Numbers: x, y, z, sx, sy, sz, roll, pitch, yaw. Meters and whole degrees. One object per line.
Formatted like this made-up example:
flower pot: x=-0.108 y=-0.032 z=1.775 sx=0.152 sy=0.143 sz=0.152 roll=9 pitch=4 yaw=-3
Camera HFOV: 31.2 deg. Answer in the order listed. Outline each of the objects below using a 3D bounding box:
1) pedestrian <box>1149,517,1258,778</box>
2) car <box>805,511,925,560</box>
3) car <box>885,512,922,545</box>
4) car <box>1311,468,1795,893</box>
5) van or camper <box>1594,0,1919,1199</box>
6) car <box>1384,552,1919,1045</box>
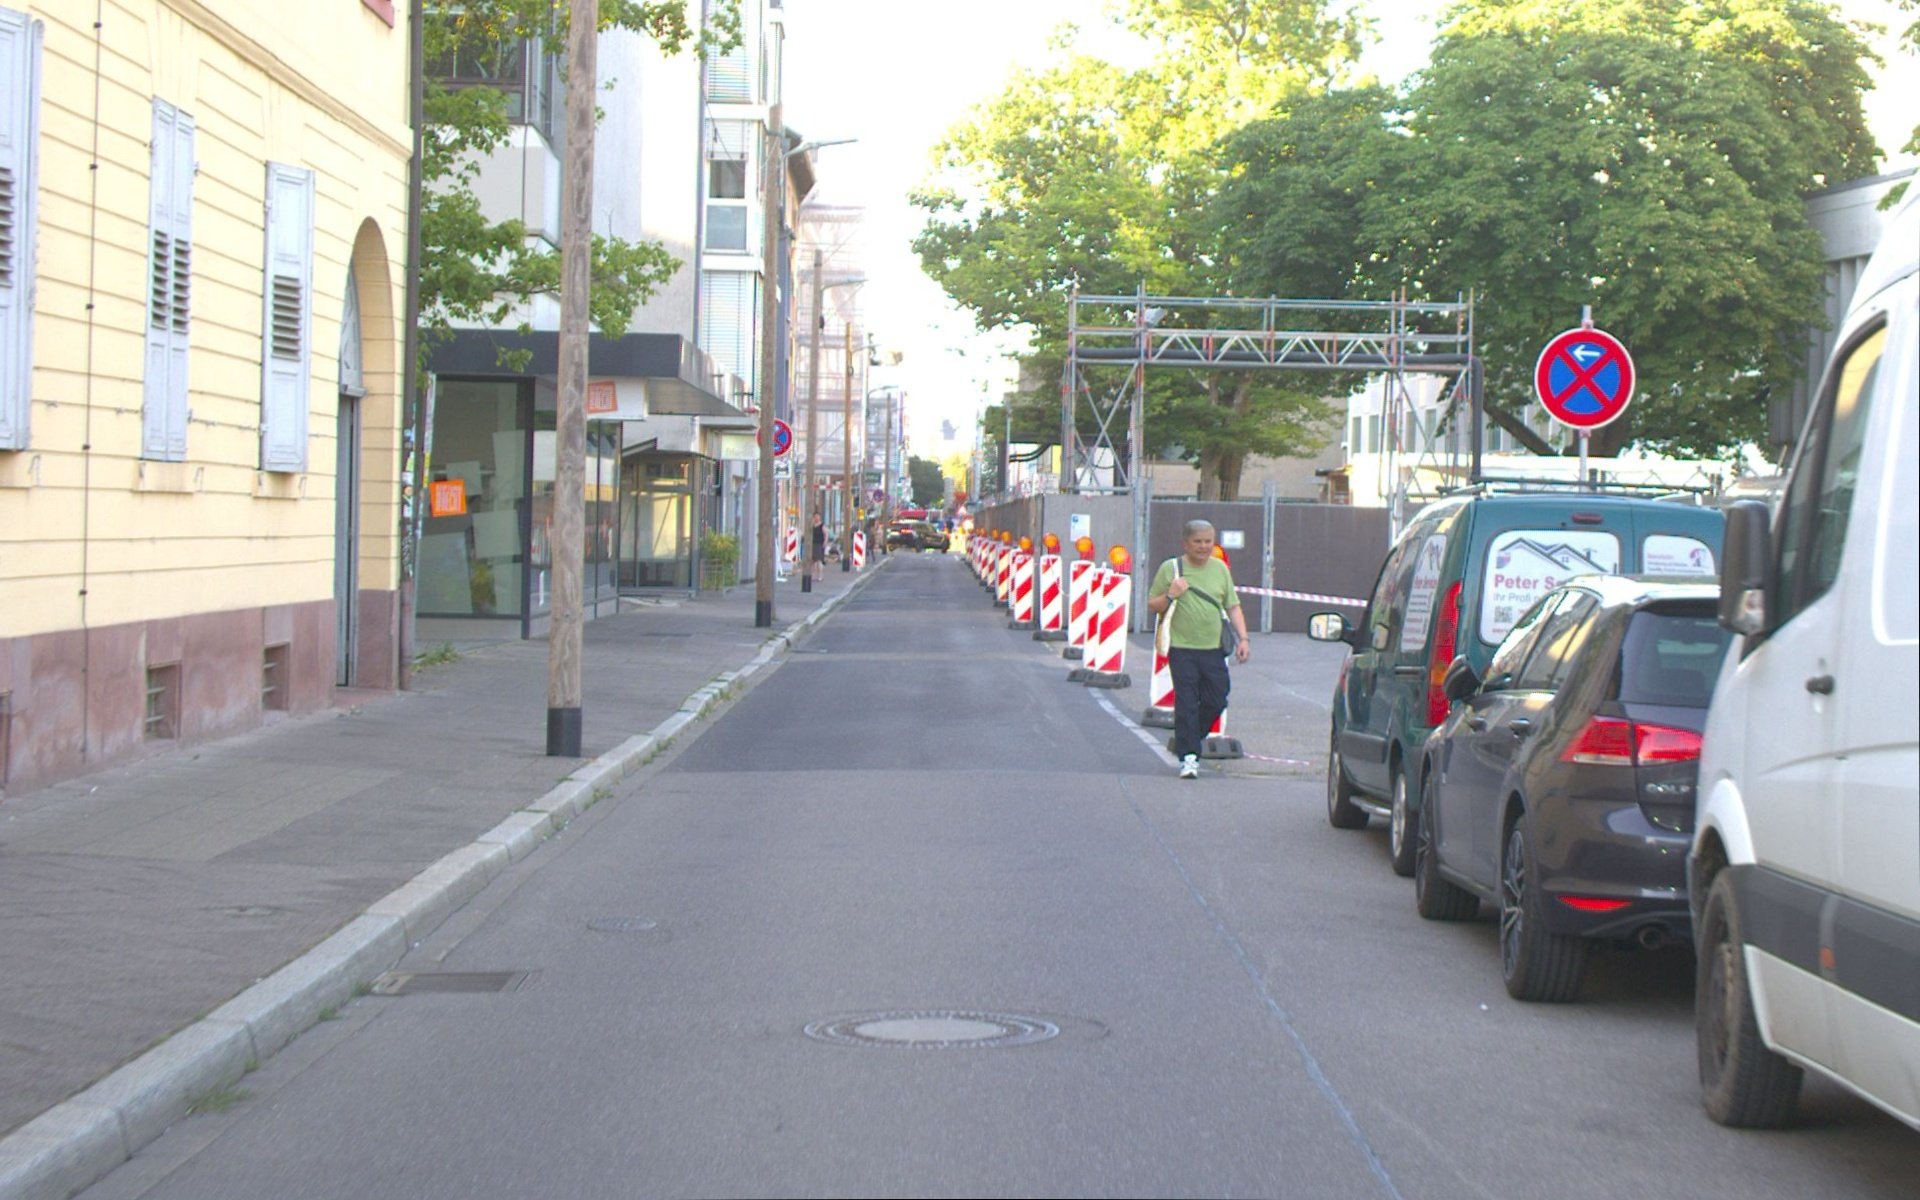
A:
pedestrian: x=1.557 y=0.290 z=22.074 sx=0.613 sy=1.623 sz=0.818 roll=2 pitch=1 yaw=2
car: x=-3.034 y=-2.062 z=109.406 sx=3.742 sy=1.454 sz=1.698 roll=1 pitch=1 yaw=-2
car: x=-2.977 y=-3.792 z=180.999 sx=1.858 sy=1.656 sz=4.000 roll=2 pitch=1 yaw=-1
car: x=2.847 y=0.312 z=17.328 sx=1.713 sy=1.842 sz=4.022 roll=2 pitch=1 yaw=0
van or camper: x=2.931 y=0.081 z=7.129 sx=2.077 sy=2.765 sz=6.450 roll=2 pitch=1 yaw=1
car: x=2.672 y=0.595 z=12.690 sx=1.692 sy=1.454 sz=4.099 roll=2 pitch=1 yaw=0
